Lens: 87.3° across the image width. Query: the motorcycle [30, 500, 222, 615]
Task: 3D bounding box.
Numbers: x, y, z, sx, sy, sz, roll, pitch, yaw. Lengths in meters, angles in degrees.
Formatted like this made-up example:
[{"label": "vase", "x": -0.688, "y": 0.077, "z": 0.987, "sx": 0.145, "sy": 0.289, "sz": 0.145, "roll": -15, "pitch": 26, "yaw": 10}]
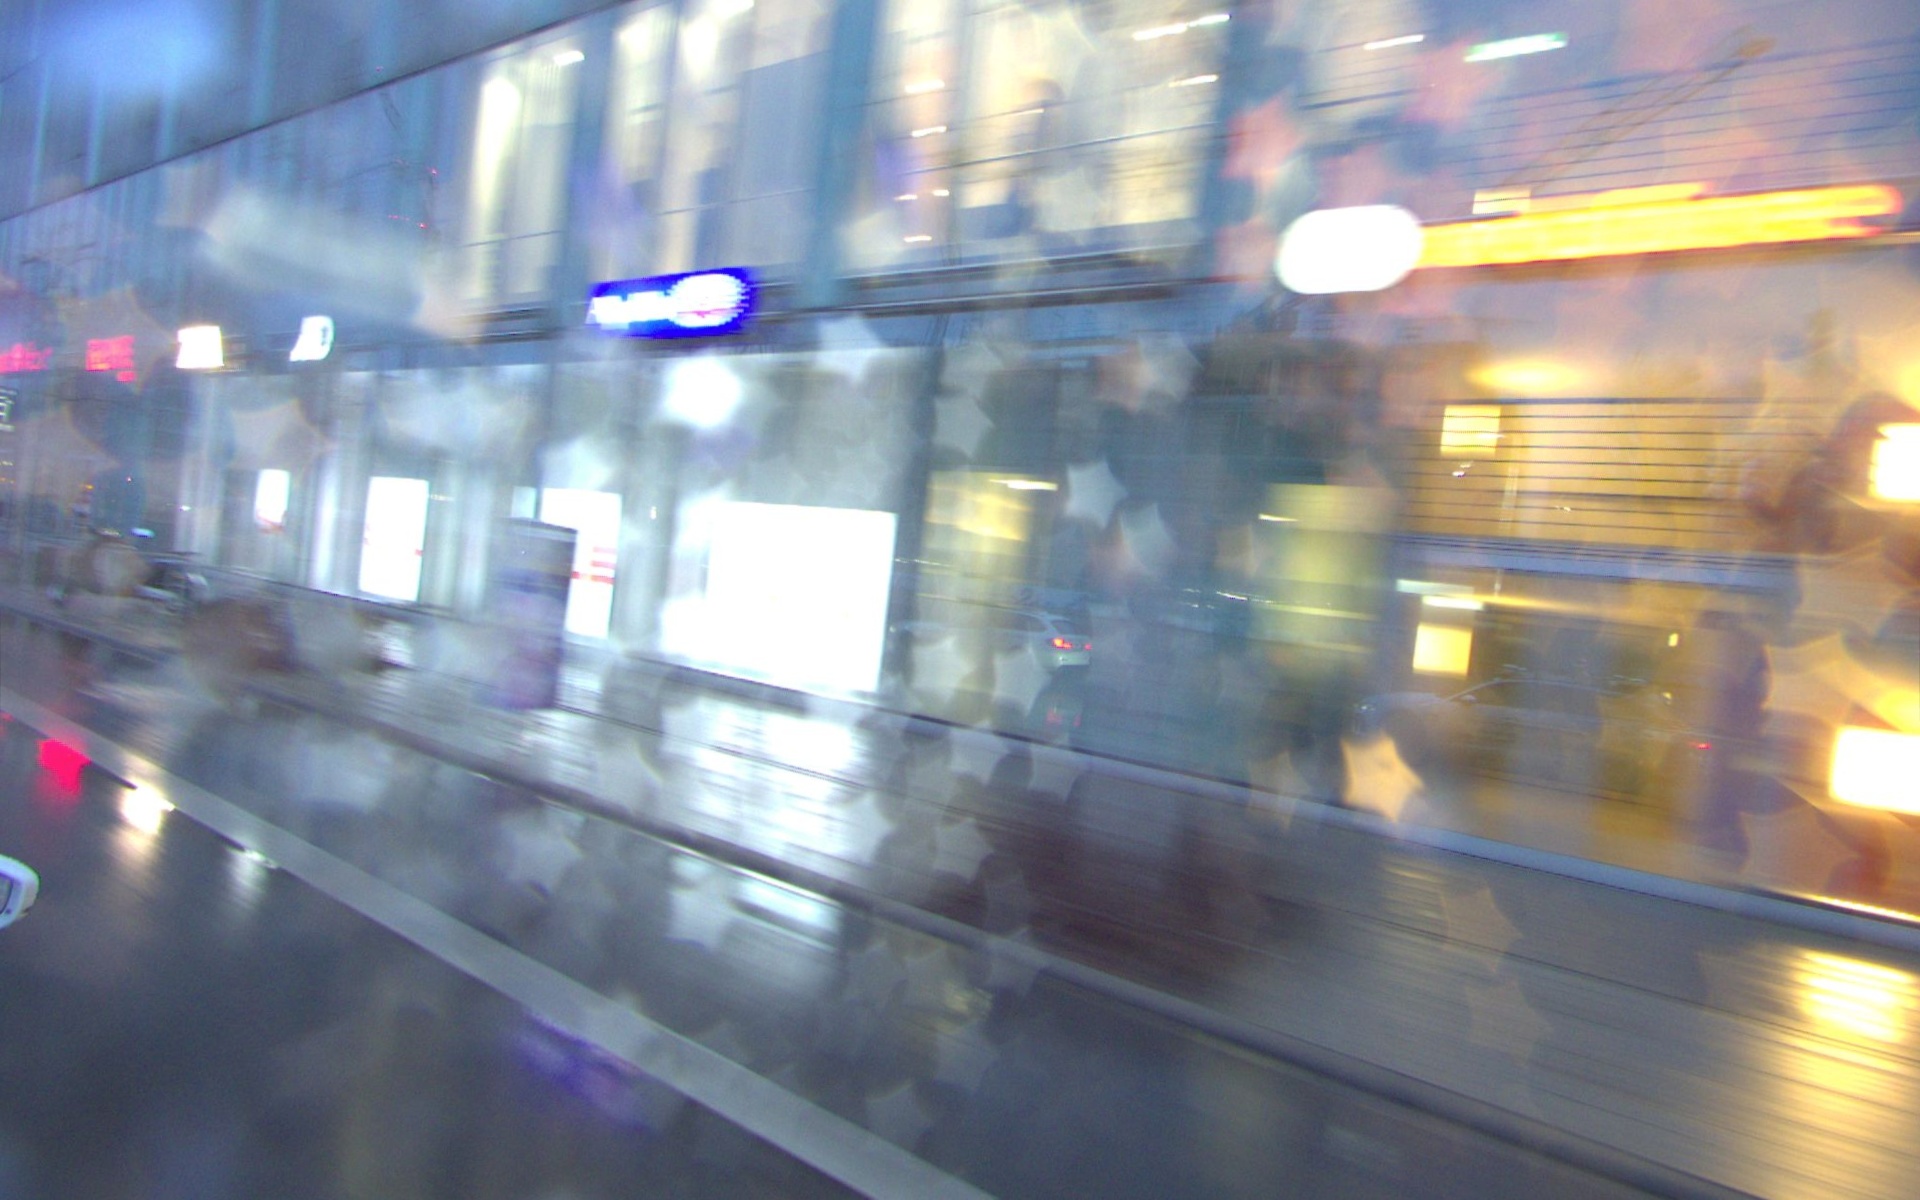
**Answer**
[{"label": "motorcycle", "x": -11.575, "y": -0.567, "z": 14.024, "sx": 1.881, "sy": 1.350, "sz": 0.593, "roll": 6, "pitch": 0, "yaw": -17}]
